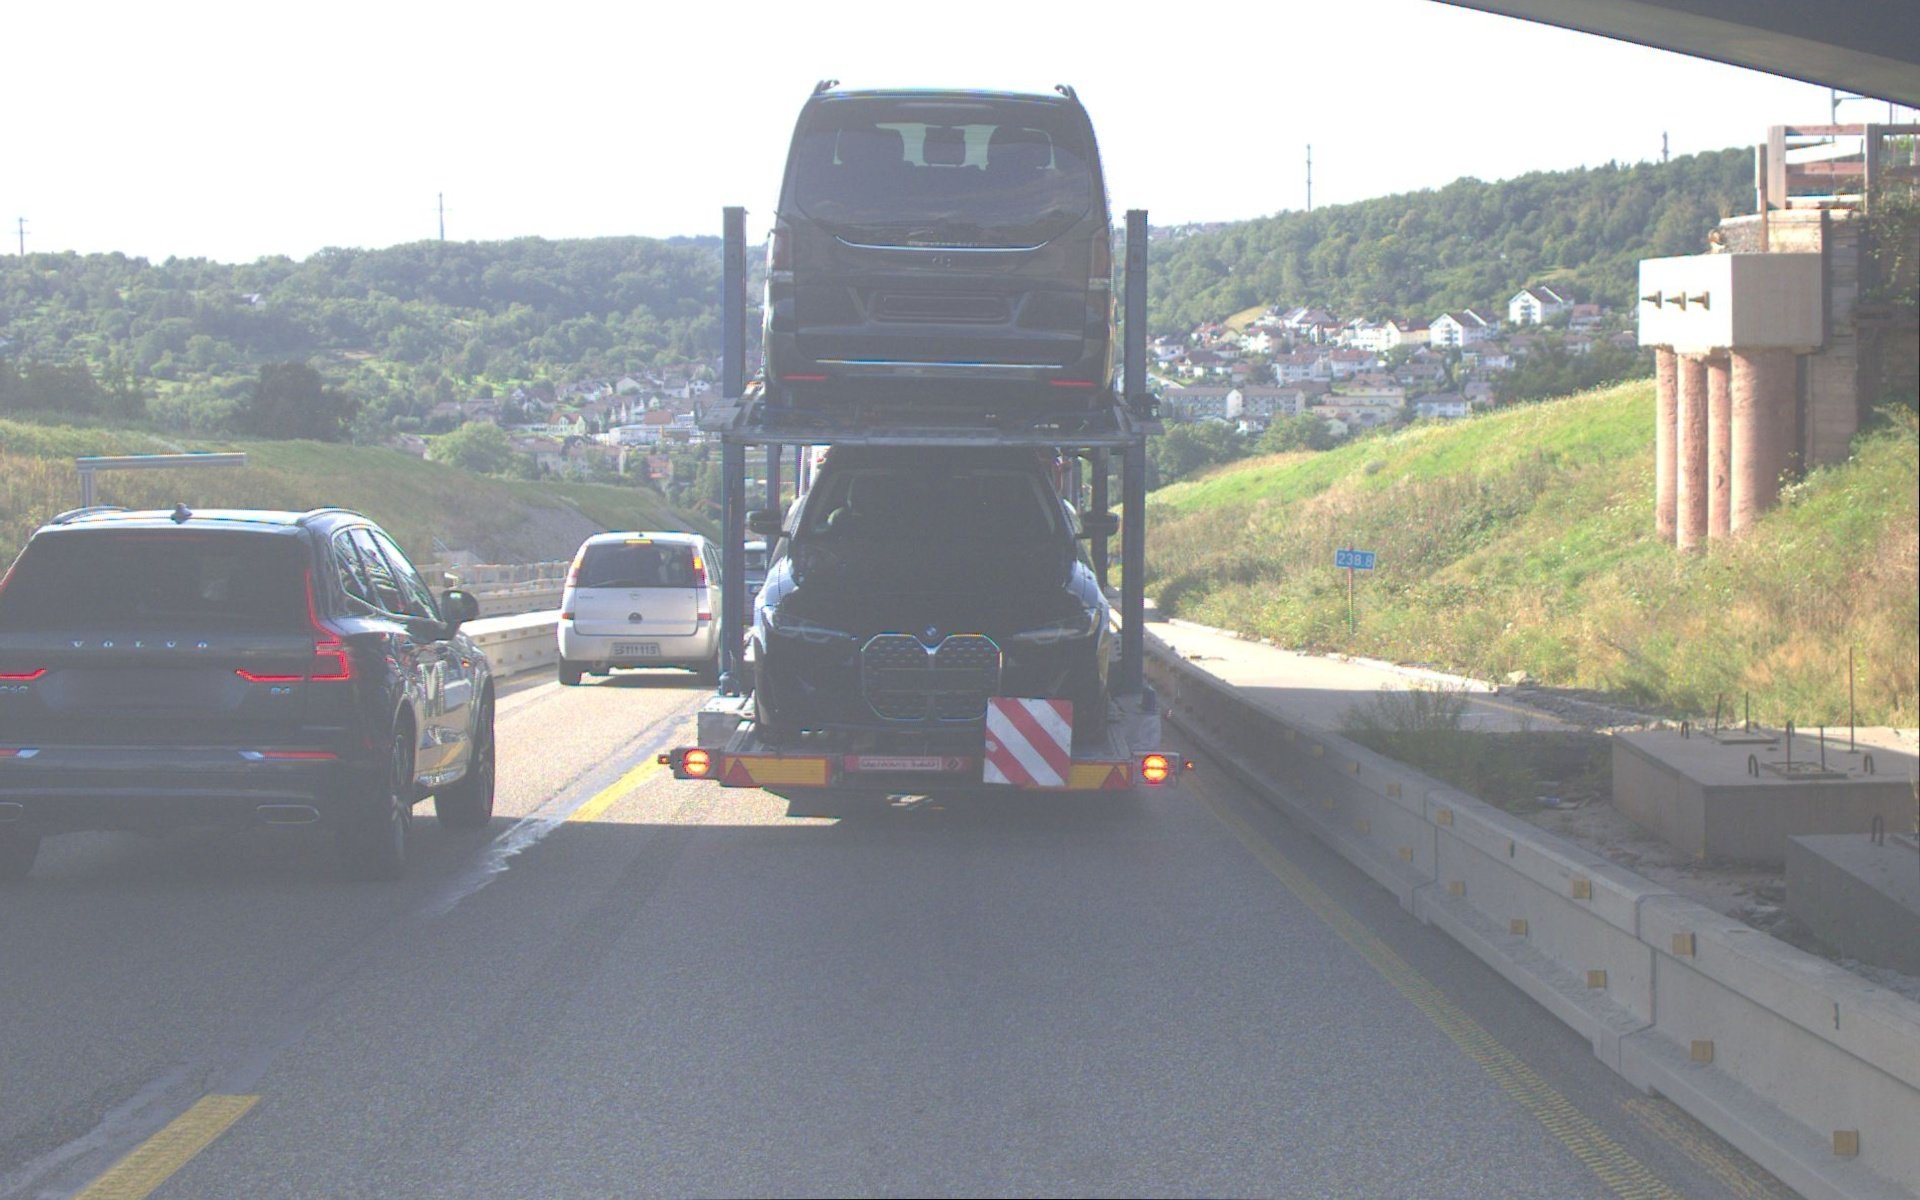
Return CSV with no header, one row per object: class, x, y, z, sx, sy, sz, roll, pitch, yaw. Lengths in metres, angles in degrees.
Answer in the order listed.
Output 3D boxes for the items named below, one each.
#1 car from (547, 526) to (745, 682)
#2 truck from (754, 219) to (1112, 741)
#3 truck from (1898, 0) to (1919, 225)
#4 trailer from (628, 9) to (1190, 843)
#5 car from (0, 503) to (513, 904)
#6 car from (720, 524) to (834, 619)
car,-3.362,-0.010,37.558,1.796,1.591,4.743,0,1,-1
truck,-0.156,-0.947,28.780,2.678,3.908,6.027,0,1,1
truck,18.106,-6.967,47.877,9.263,3.216,2.960,0,1,0
trailer,-0.214,-0.933,22.302,2.708,4.015,11.420,0,1,0
car,-3.351,0.365,16.290,1.993,1.619,4.751,0,1,-2
car,-3.032,-0.506,57.649,1.796,1.525,4.296,0,1,-1
